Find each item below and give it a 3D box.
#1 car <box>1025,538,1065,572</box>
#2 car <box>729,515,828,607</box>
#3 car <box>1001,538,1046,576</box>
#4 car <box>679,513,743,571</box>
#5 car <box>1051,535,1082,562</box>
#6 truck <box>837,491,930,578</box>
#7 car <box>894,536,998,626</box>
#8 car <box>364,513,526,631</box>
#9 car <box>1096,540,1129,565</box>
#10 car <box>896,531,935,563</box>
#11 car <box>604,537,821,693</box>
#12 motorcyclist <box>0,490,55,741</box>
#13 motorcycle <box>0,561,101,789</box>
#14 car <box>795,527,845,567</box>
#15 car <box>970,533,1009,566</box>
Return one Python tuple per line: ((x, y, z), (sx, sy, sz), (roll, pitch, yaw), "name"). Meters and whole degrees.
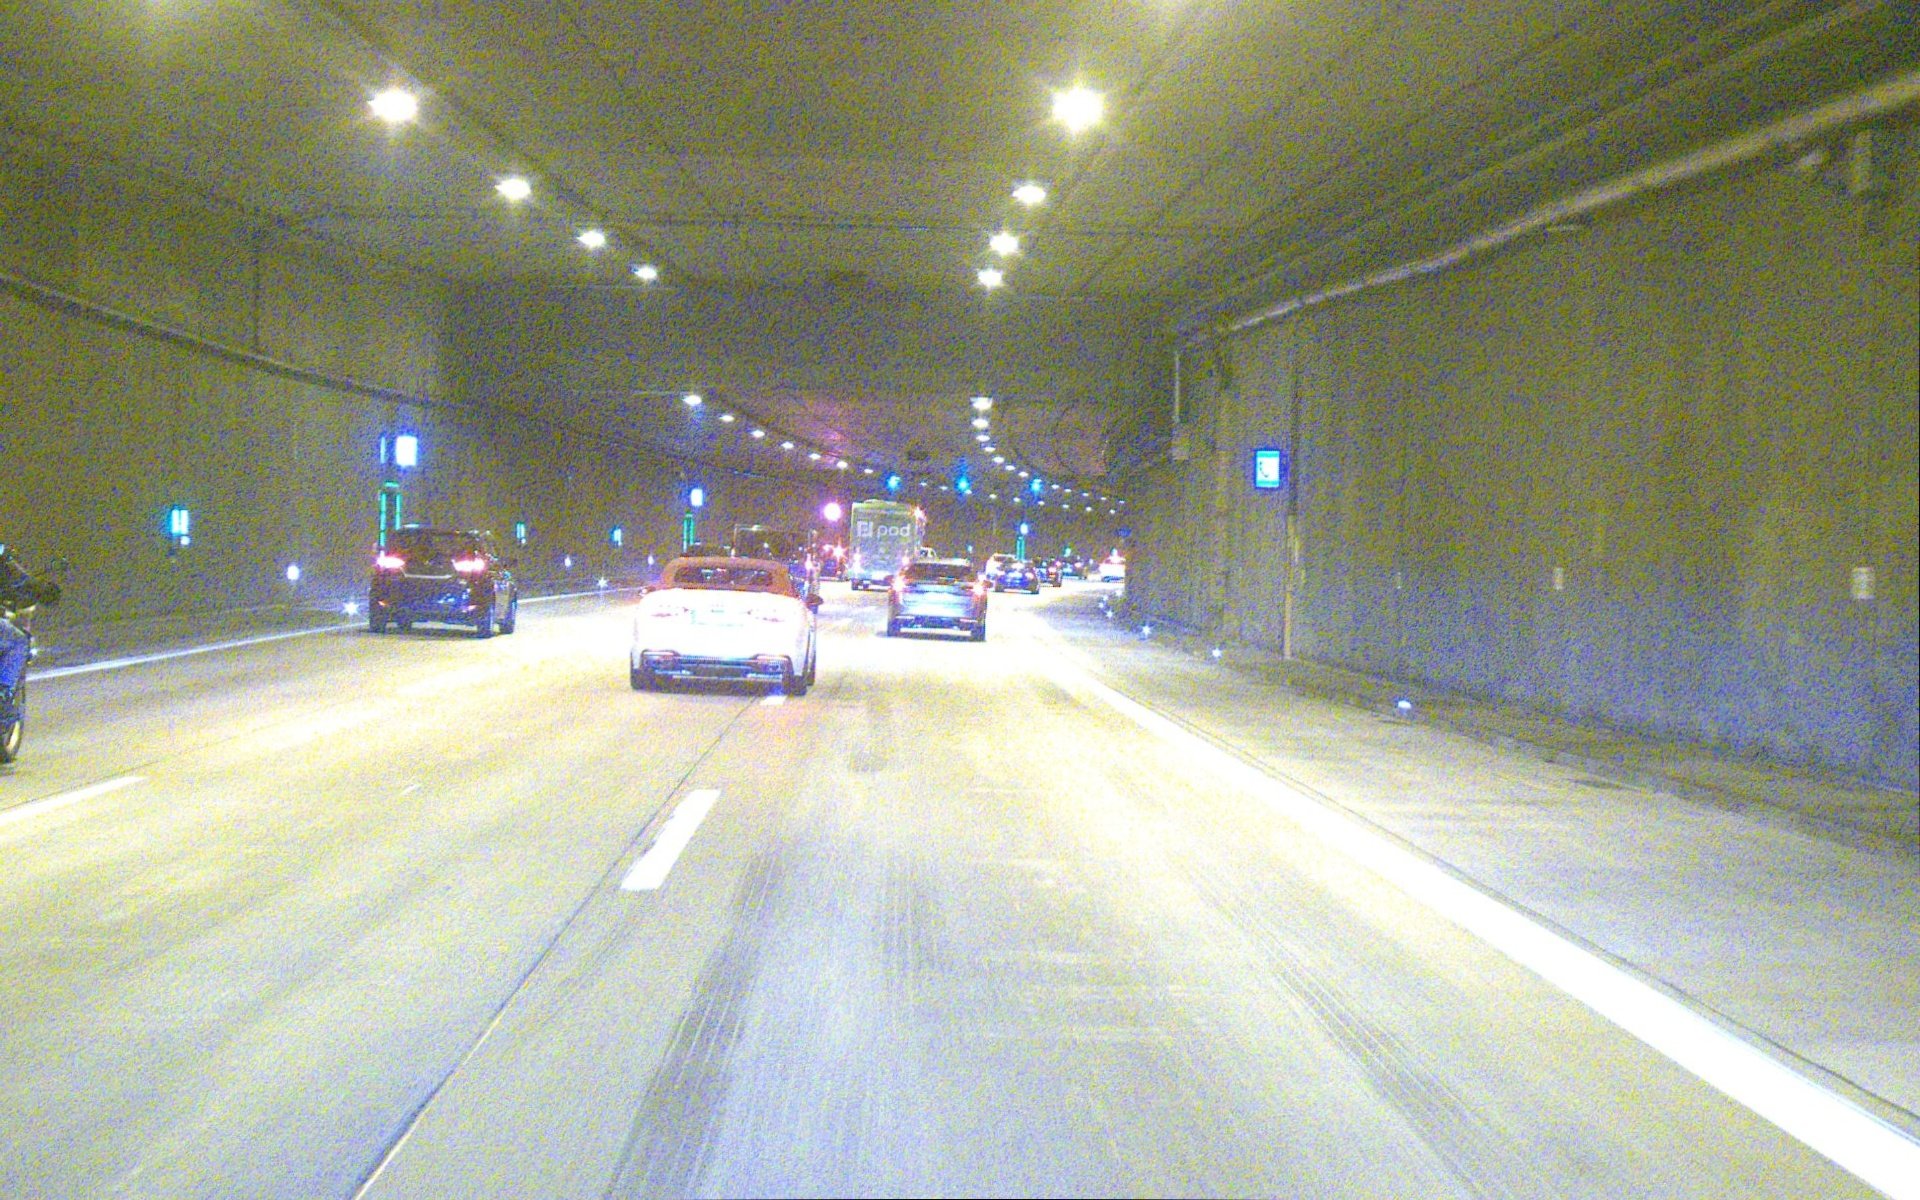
((4.260, -2.290, 173.076), (1.858, 1.660, 4.000), (1, 1, 0), "car")
((-4.019, -0.867, 76.565), (1.993, 1.965, 4.000), (0, 0, 0), "car")
((2.693, -1.814, 144.314), (1.844, 1.562, 4.000), (1, 1, 1), "car")
((-7.460, -1.716, 103.117), (1.800, 1.678, 4.000), (-1, 1, -3), "car")
((6.784, -3.285, 218.436), (1.833, 1.685, 4.000), (1, 1, 0), "car")
((-2.759, -2.469, 127.331), (3.083, 3.102, 10.030), (0, 2, 1), "truck")
((-0.272, -0.380, 63.334), (1.839, 1.596, 4.000), (1, 1, -1), "car")
((-7.550, -0.443, 50.686), (1.785, 1.593, 3.801), (2, 1, -1), "car")
((9.502, -2.979, 214.964), (1.844, 1.546, 4.000), (1, 1, 0), "car")
((-2.304, -2.776, 179.369), (1.830, 1.612, 4.000), (1, 1, 2), "car")
((-2.539, 0.115, 36.197), (1.993, 1.478, 4.000), (2, 1, -1), "car")
((-5.978, 0.092, 20.654), (0.839, 1.472, 0.821), (-1, 1, -1), "motorcyclist")
((-5.974, 0.430, 20.897), (0.845, 1.241, 2.605), (-1, 2, 0), "motorcycle")
((-5.878, -2.238, 144.607), (1.843, 1.598, 4.000), (1, 1, 1), "car")
((1.612, -2.744, 187.652), (1.993, 1.748, 4.000), (0, 0, -1), "car")
